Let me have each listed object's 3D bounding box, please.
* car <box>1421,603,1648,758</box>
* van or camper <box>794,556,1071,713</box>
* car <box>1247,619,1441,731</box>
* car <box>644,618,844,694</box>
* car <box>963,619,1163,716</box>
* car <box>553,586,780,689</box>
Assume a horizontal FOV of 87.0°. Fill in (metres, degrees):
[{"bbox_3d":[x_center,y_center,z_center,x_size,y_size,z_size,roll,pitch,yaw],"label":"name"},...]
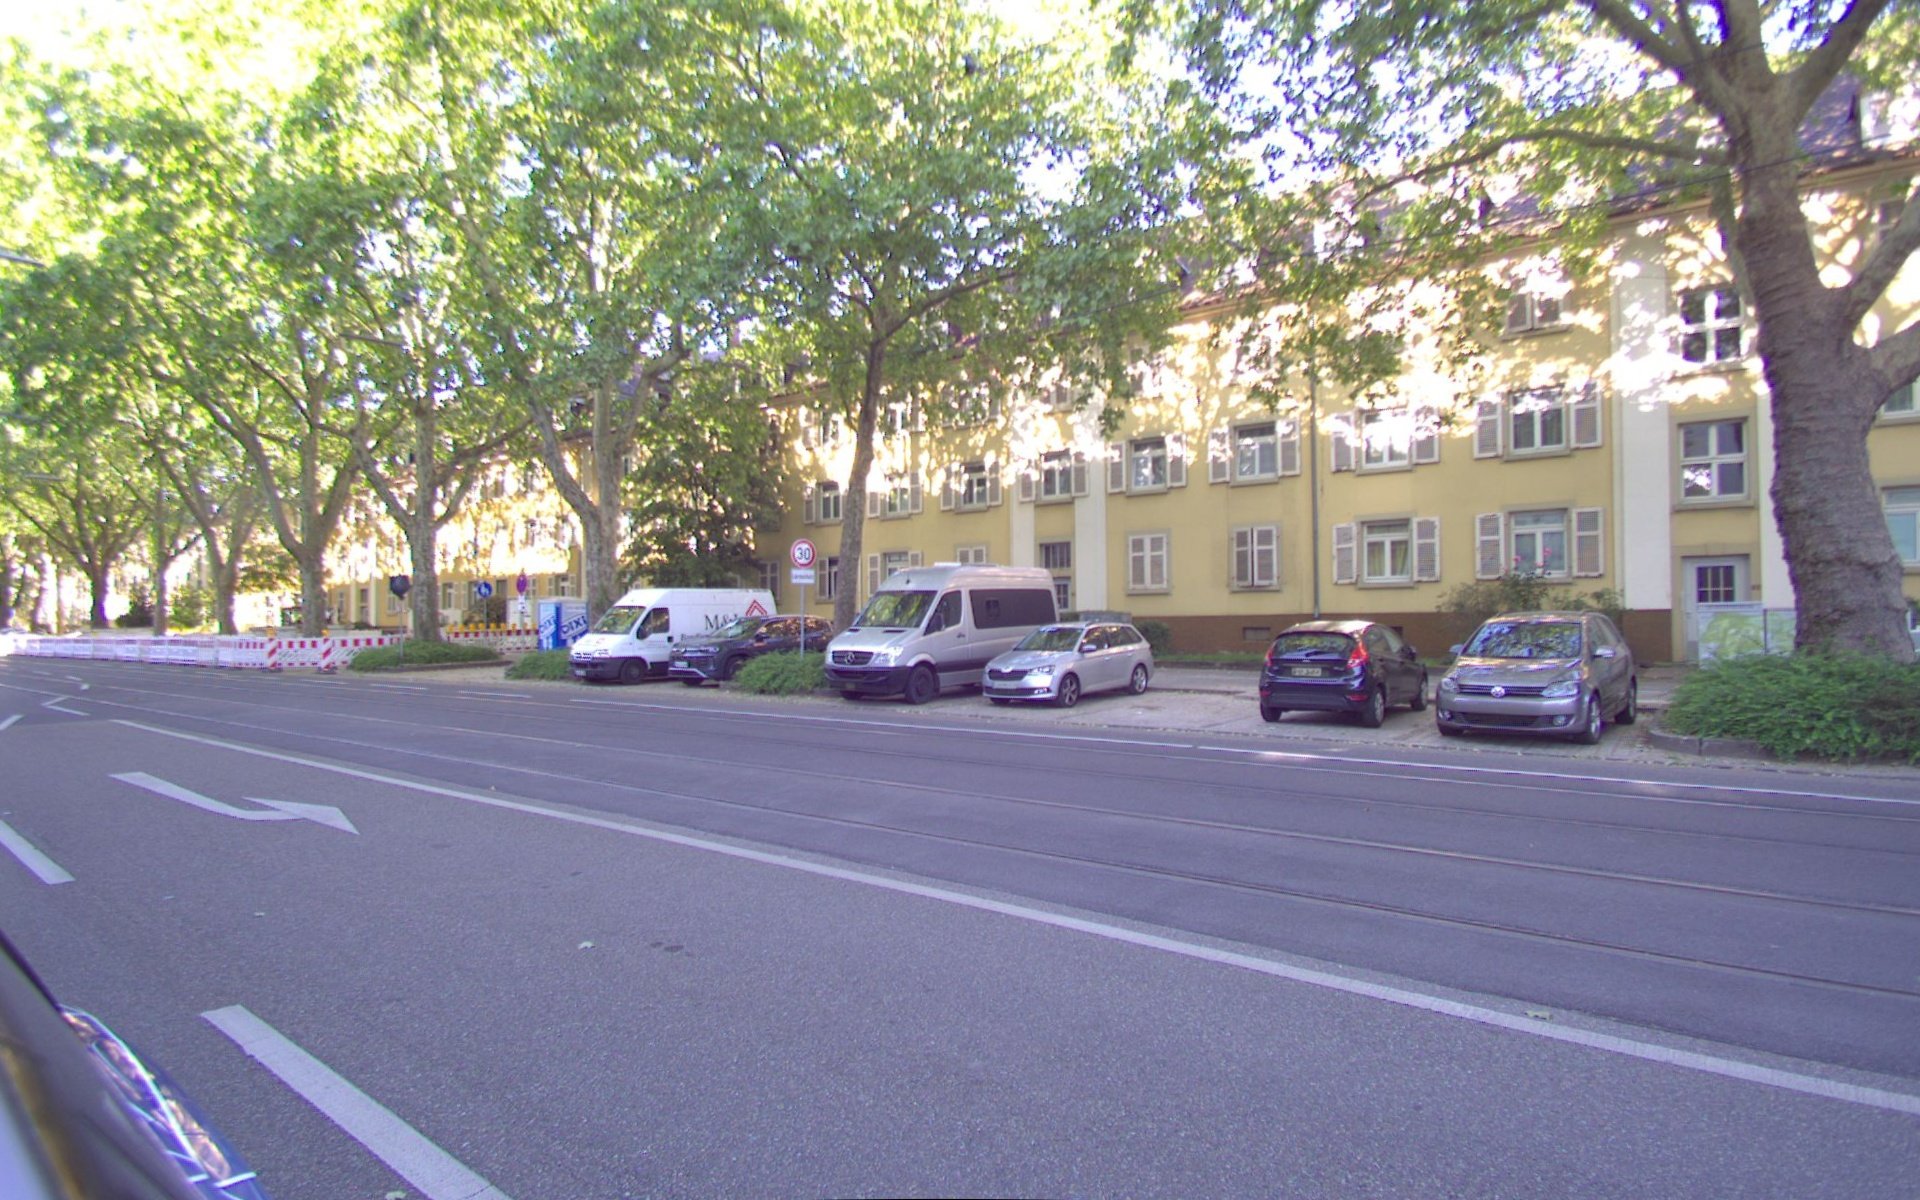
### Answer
[{"bbox_3d":[7.730,0.924,13.424,1.814,1.617,4.145,-2,0,41],"label":"car"},{"bbox_3d":[-0.322,0.609,20.501,2.227,2.697,6.052,-2,-1,38],"label":"van or camper"},{"bbox_3d":[5.899,1.045,15.338,1.740,1.440,3.528,-2,-1,39],"label":"car"},{"bbox_3d":[-5.096,1.270,24.379,1.967,1.643,4.520,-2,-2,38],"label":"car"},{"bbox_3d":[2.030,1.154,18.916,1.729,1.481,4.102,0,1,40],"label":"car"},{"bbox_3d":[-7.450,0.943,26.298,2.023,2.394,5.543,-2,-2,38],"label":"car"}]
